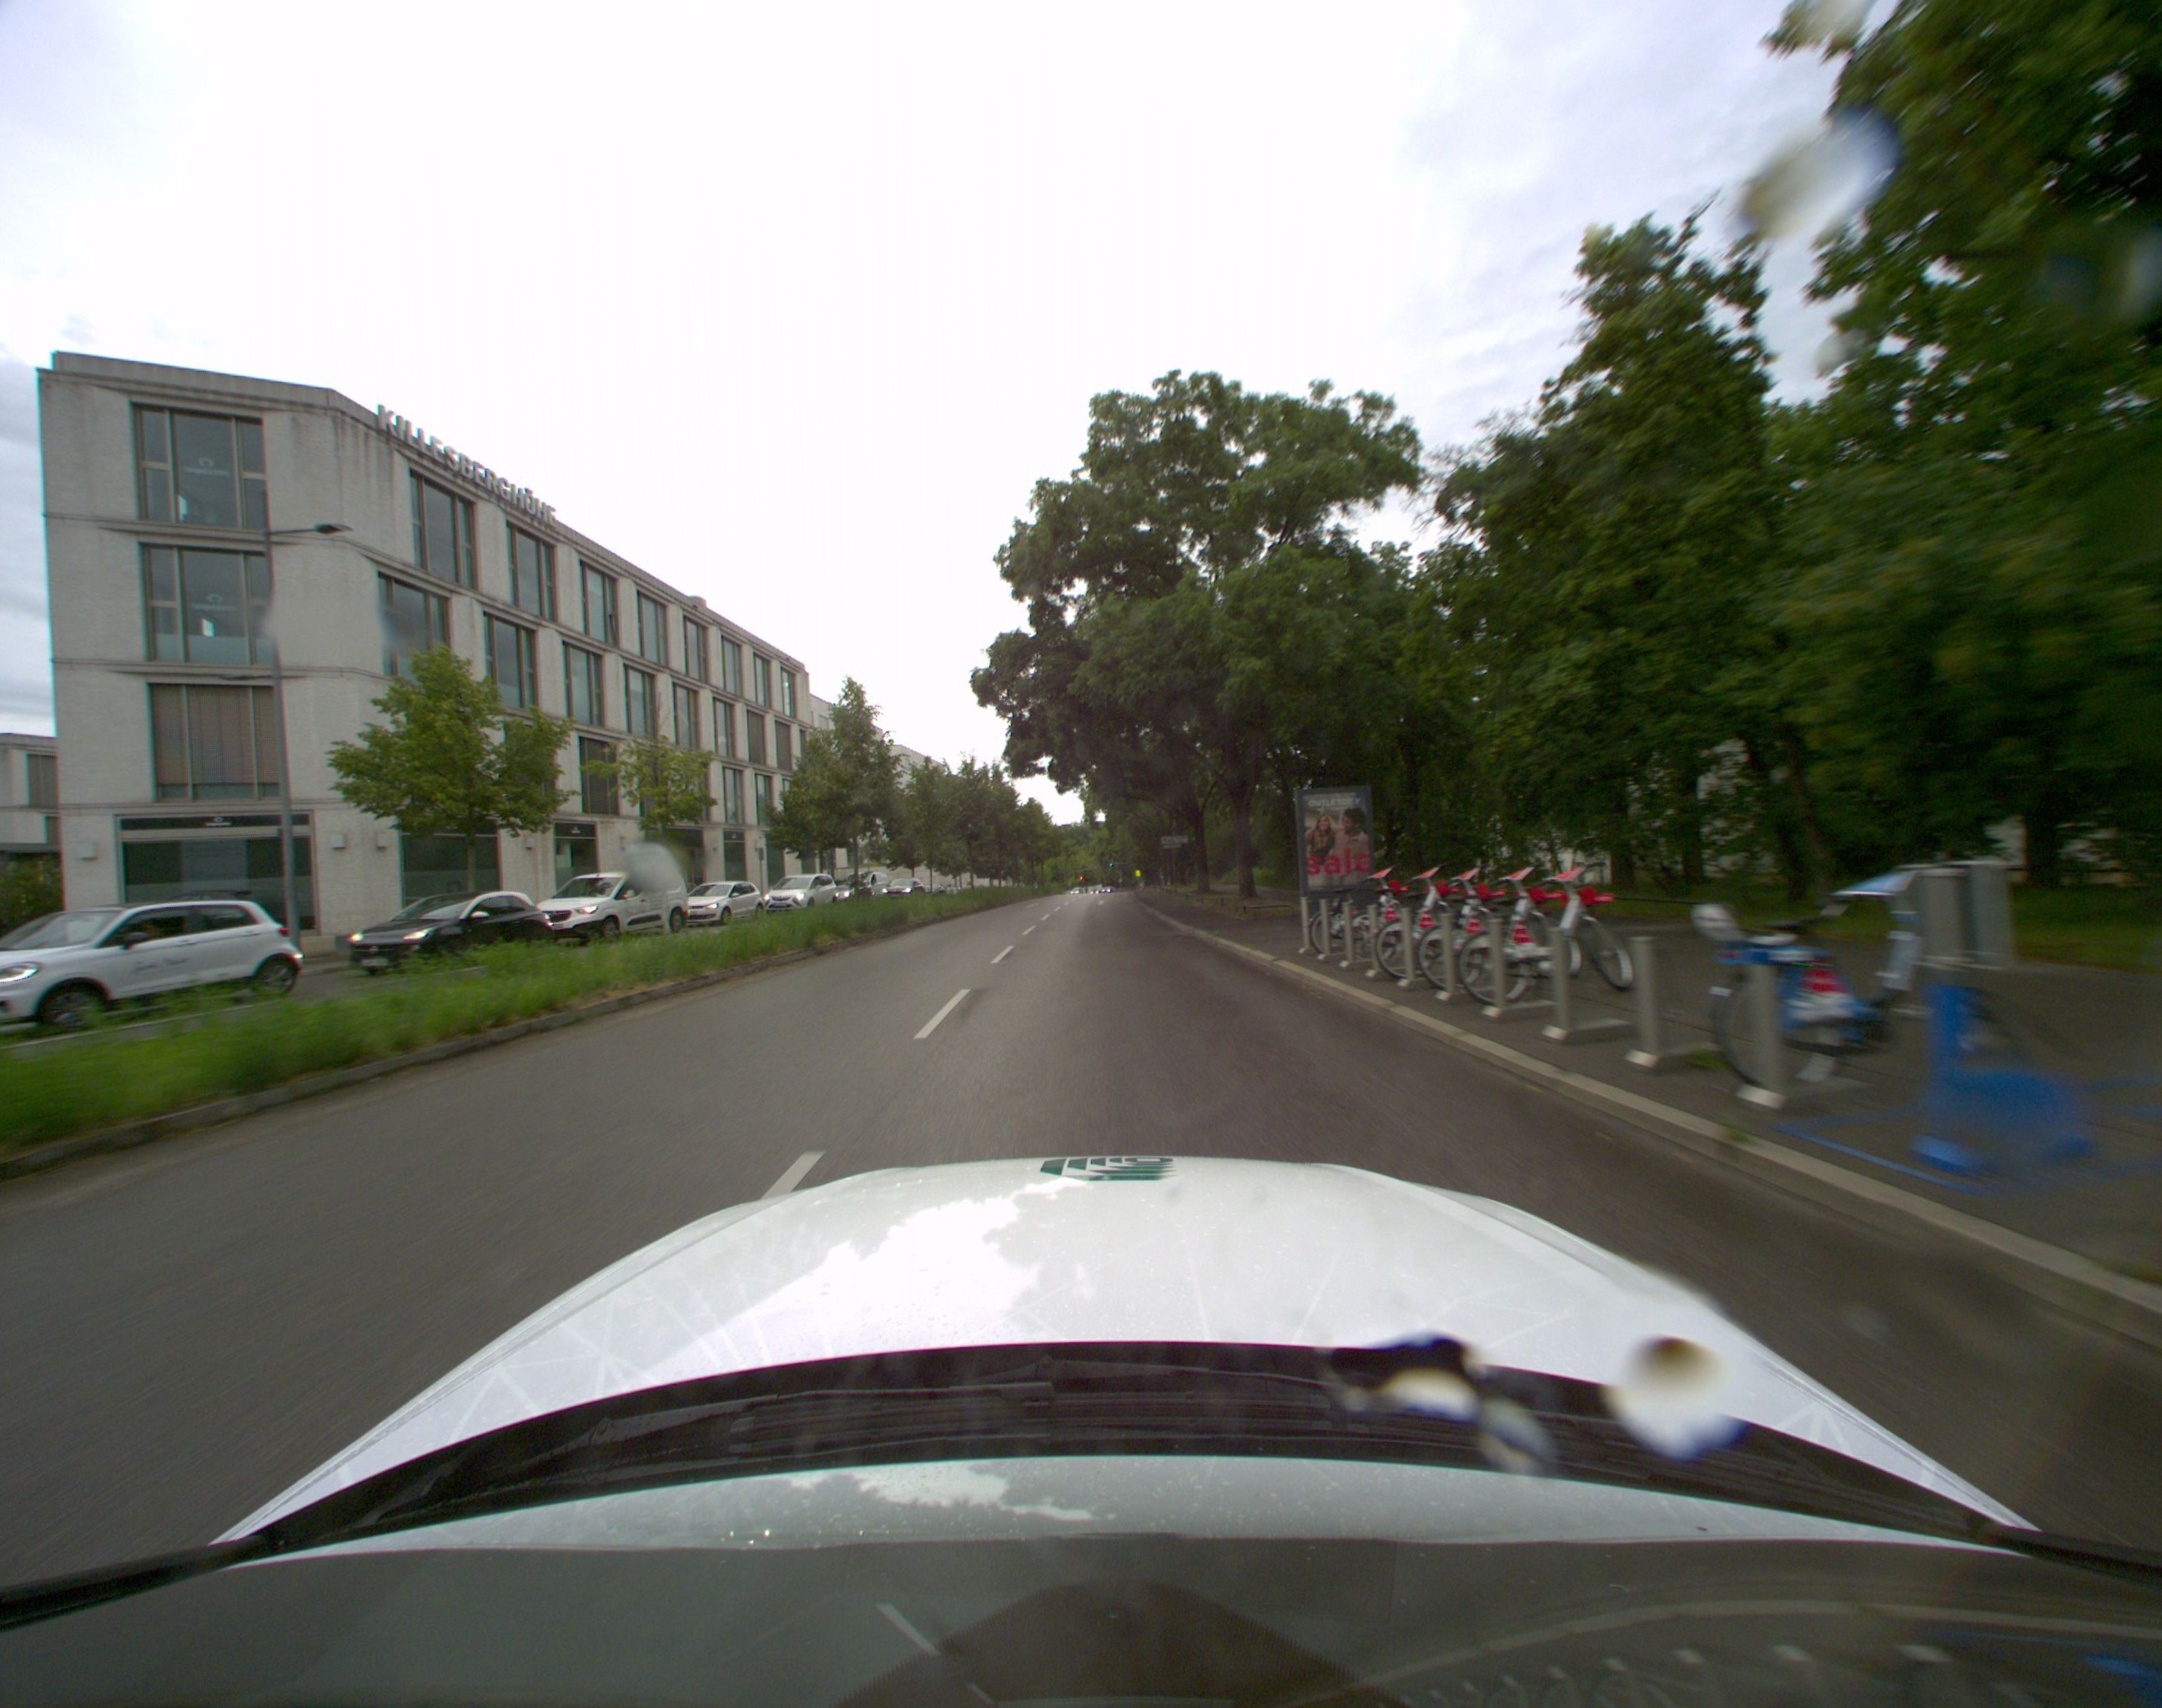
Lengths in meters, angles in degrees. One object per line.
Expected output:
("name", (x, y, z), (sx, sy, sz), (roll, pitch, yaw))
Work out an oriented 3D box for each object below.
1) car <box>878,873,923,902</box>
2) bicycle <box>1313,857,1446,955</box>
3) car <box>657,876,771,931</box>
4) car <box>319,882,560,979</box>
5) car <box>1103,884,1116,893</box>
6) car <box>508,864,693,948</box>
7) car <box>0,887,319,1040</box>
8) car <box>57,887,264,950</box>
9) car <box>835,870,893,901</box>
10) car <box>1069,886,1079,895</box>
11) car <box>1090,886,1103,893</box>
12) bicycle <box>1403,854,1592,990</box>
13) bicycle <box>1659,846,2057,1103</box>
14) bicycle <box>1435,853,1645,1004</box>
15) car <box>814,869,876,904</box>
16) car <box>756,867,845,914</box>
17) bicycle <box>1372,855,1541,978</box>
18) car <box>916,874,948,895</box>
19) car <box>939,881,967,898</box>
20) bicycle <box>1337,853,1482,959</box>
("car", (-11.155, 2.027, 50.669), (1.688, 1.581, 4.019), (-3, -1, 2))
("bicycle", (3.991, 0.680, 10.933), (1.482, 1.131, 0.556), (-6, -1, -4))
("car", (-12.346, 1.626, 27.701), (1.736, 1.467, 4.064), (-4, 1, 3))
("car", (-12.779, 1.439, 16.571), (1.708, 1.460, 3.752), (-4, 1, 2))
("car", (6.937, 8.248, 196.861), (1.906, 1.857, 4.525), (-8, -3, 16))
("car", (-12.579, 1.272, 21.781), (1.836, 1.802, 4.777), (-2, 1, 3))
("car", (-13.272, 1.400, 11.345), (1.644, 1.576, 3.704), (-4, 1, 2))
("car", (-24.629, 1.676, 21.946), (3.300, 1.376, 1.555), (-2, 0, -23))
("car", (-13.795, 2.009, 52.149), (2.114, 1.816, 5.261), (-3, -2, 2))
("car", (-1.451, 7.768, 174.113), (1.703, 1.747, 4.339), (-4, -3, 2))
("car", (3.641, 8.151, 187.069), (1.756, 1.381, 4.208), (-6, -3, 16))
("bicycle", (4.068, 0.646, 8.003), (1.482, 1.131, 0.556), (-6, -1, -4))
("bicycle", (4.157, 0.607, 4.415), (1.593, 1.131, 0.556), (-6, -1, -4))
("bicycle", (4.061, 0.639, 7.258), (1.482, 1.131, 0.556), (-6, -1, -4))
("car", (-11.638, 1.590, 40.408), (1.634, 1.410, 4.000), (-4, 1, 3))
("car", (-11.832, 1.472, 34.663), (1.821, 1.600, 4.678), (-4, 1, 3))
("bicycle", (4.036, 0.656, 8.805), (1.482, 1.131, 0.556), (-6, -1, -4))
("car", (-12.594, 2.587, 69.029), (1.687, 1.581, 4.021), (-2, 0, 3))
("car", (-12.211, 3.345, 77.641), (1.687, 1.444, 3.865), (-3, -2, 5))
("bicycle", (4.057, 0.629, 10.109), (1.482, 1.131, 0.556), (-6, -1, -4))
